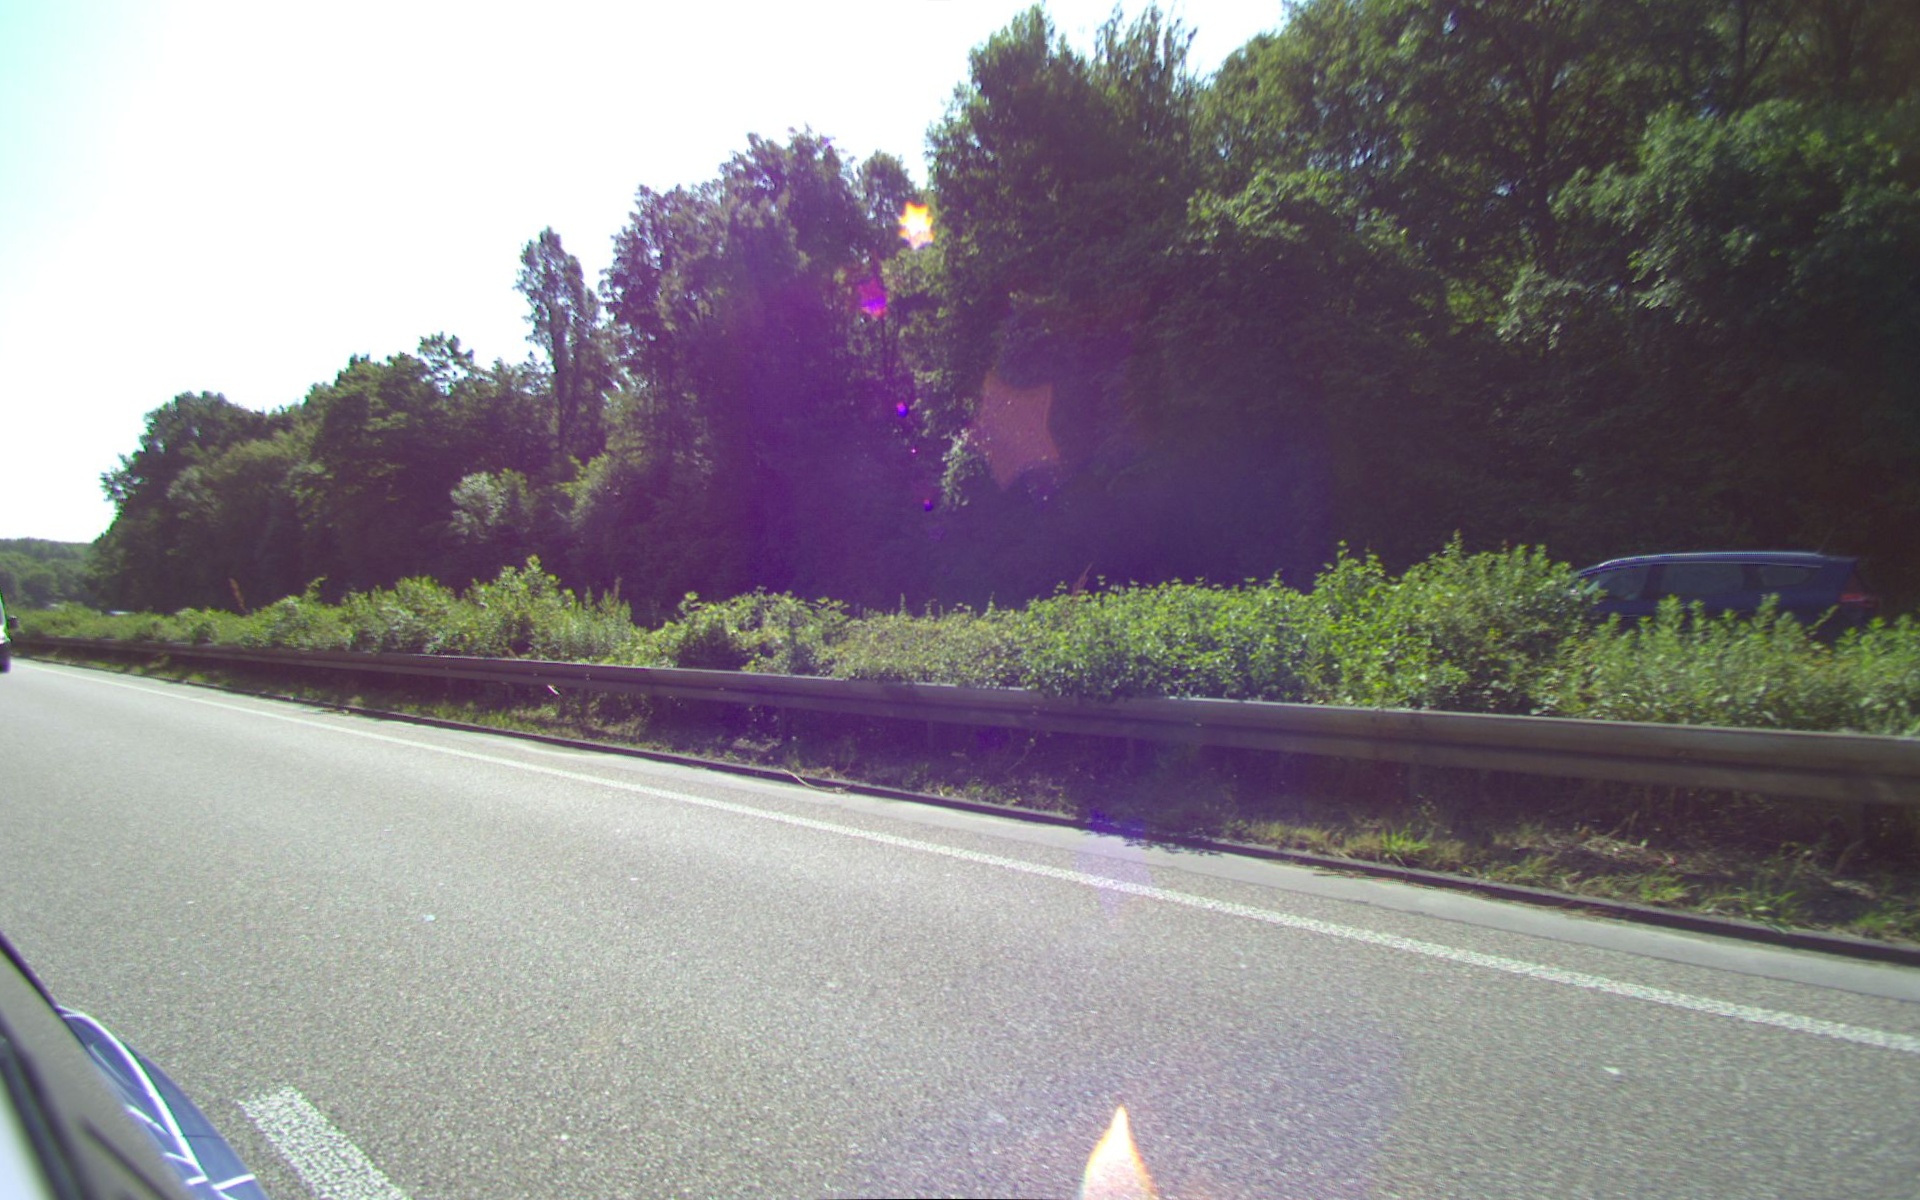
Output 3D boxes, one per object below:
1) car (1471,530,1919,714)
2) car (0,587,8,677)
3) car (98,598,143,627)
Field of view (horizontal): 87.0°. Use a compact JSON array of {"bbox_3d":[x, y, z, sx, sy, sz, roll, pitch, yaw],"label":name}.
[{"bbox_3d":[8.766,0.253,12.142,4.430,1.863,1.614,-2,-1,41],"label":"car"},{"bbox_3d":[-28.375,0.901,28.361,4.636,2.462,2.020,-1,0,41],"label":"car"},{"bbox_3d":[-61.963,0.897,74.669,3.998,2.029,1.973,-1,0,41],"label":"car"}]
